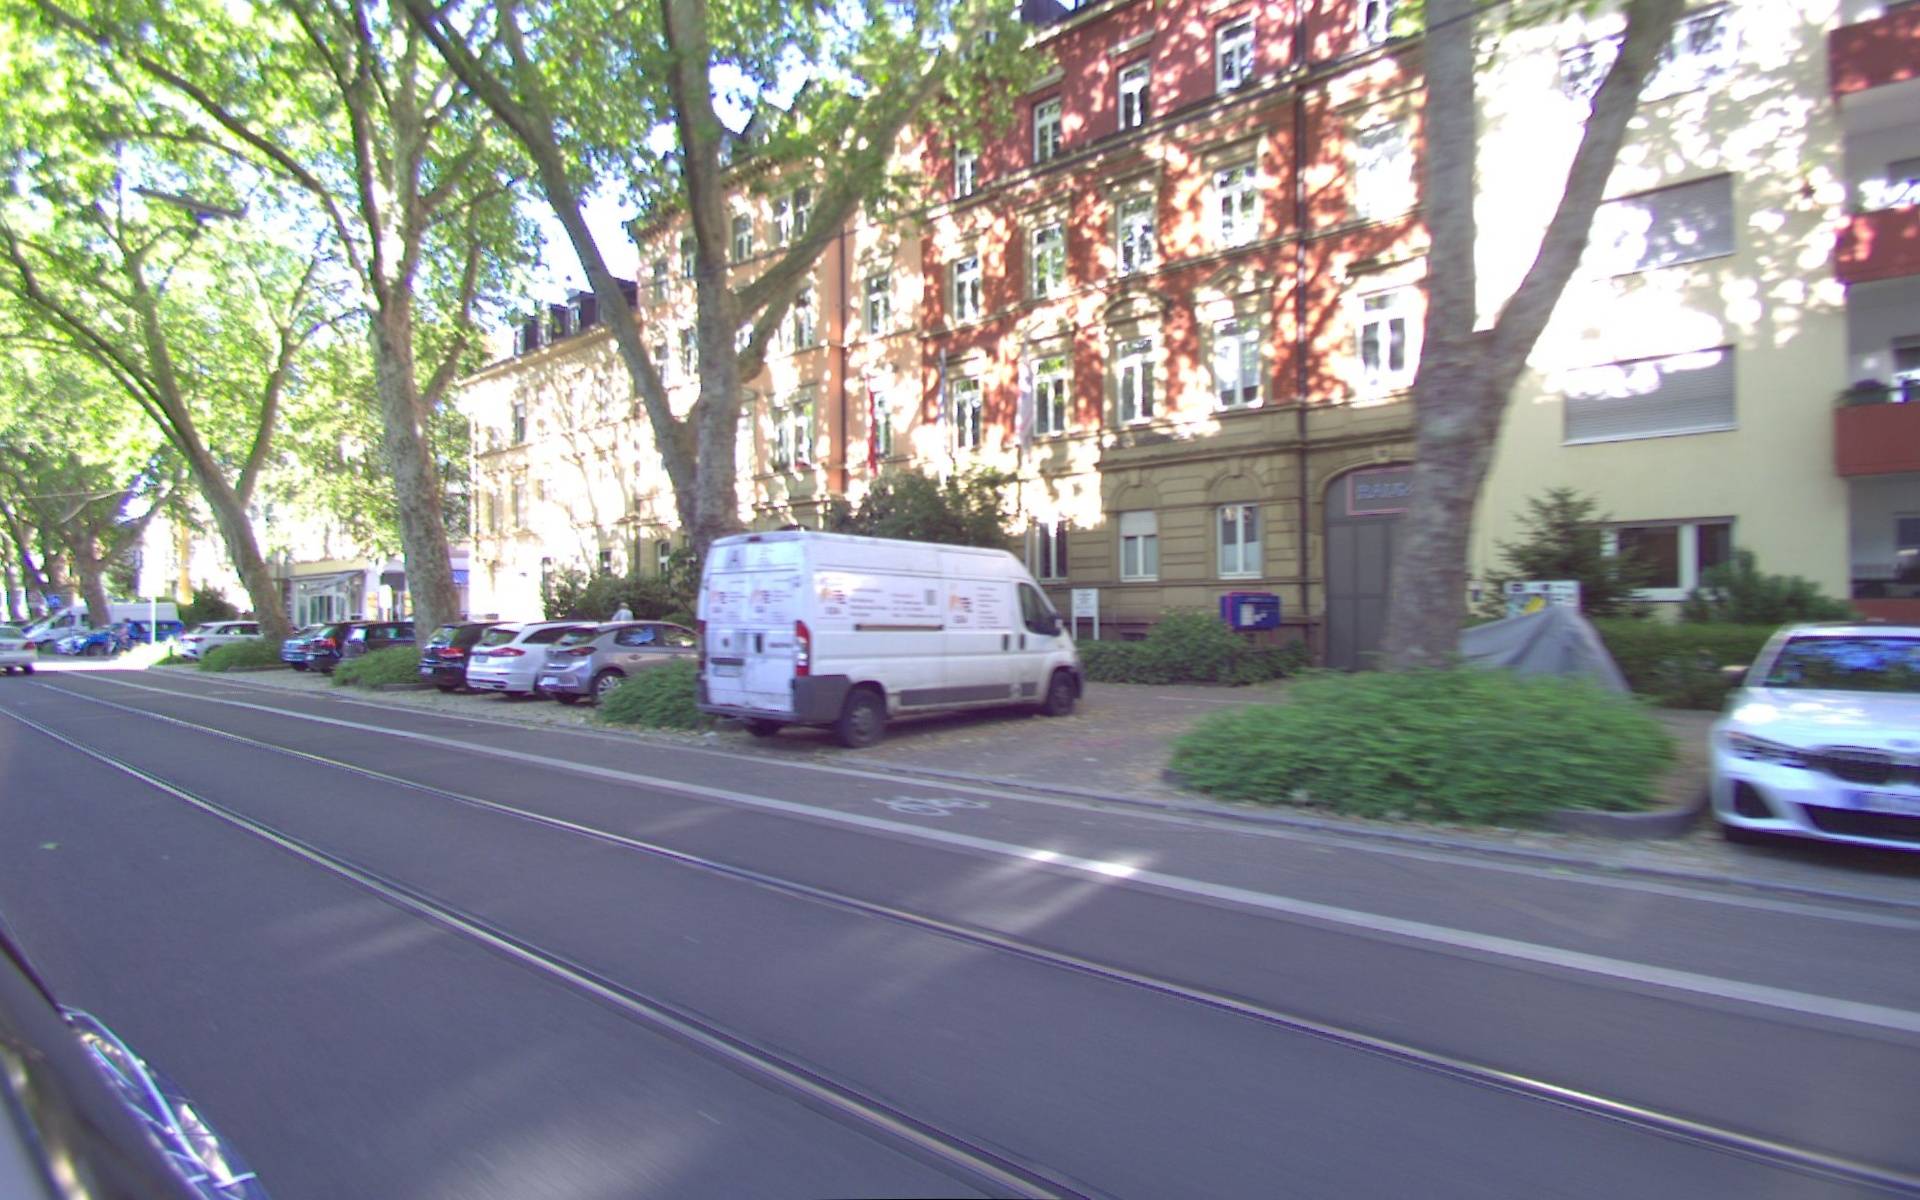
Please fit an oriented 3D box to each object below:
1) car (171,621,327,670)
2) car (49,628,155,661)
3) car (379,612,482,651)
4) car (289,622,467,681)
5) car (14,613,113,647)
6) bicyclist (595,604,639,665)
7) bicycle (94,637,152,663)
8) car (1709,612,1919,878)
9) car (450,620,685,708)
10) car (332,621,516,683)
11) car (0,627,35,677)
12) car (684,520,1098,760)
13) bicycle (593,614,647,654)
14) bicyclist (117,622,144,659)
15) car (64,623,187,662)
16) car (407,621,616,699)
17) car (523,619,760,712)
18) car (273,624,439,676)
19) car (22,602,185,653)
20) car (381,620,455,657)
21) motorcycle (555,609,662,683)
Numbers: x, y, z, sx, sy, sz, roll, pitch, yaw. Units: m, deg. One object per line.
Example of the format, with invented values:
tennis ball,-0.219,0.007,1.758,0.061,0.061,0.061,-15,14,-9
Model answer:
car,-23.734,1.471,33.886,1.878,1.471,3.946,-1,-1,40
car,-42.083,2.155,49.688,1.745,1.529,3.733,-1,-1,38
car,-28.335,1.651,54.260,4.516,1.894,2.132,0,1,-42
car,-16.113,1.366,28.205,1.764,1.471,3.957,-1,-1,32
car,-57.388,1.884,64.841,1.923,1.922,4.575,-2,0,44
bicyclist,-10.209,1.023,30.155,1.048,1.776,0.822,-1,-1,41
bicycle,-35.391,2.120,42.804,1.845,1.039,0.630,0,-1,-36
car,6.655,0.800,7.088,1.932,1.395,4.364,-1,-1,41
car,-7.622,1.180,19.906,1.830,1.507,3.945,-1,-1,42
car,-13.955,1.305,26.497,1.704,1.471,3.943,-1,-1,43
car,-28.087,1.468,29.058,4.466,1.369,1.700,-1,-1,40
car,-0.643,0.428,13.639,2.161,2.555,5.680,-2,-1,41
bicycle,-10.153,0.992,30.160,1.779,1.147,0.734,-1,-1,41
bicyclist,-35.203,1.727,42.952,0.855,1.538,0.738,0,-2,-37
car,-39.923,1.989,48.522,1.814,1.725,4.279,-1,-1,37
car,-9.527,1.206,21.677,1.704,1.471,3.753,-1,-1,42
car,-5.673,1.102,18.320,1.704,1.443,3.767,-2,-1,43
car,-17.901,1.435,30.133,1.602,1.379,3.952,-1,-1,35
car,-46.561,1.452,55.194,1.999,2.426,6.533,-2,0,41
car,-23.257,1.627,43.400,3.485,1.471,1.583,-1,-1,39
motorcycle,-8.476,1.052,24.319,3.010,1.643,1.041,-1,1,41
